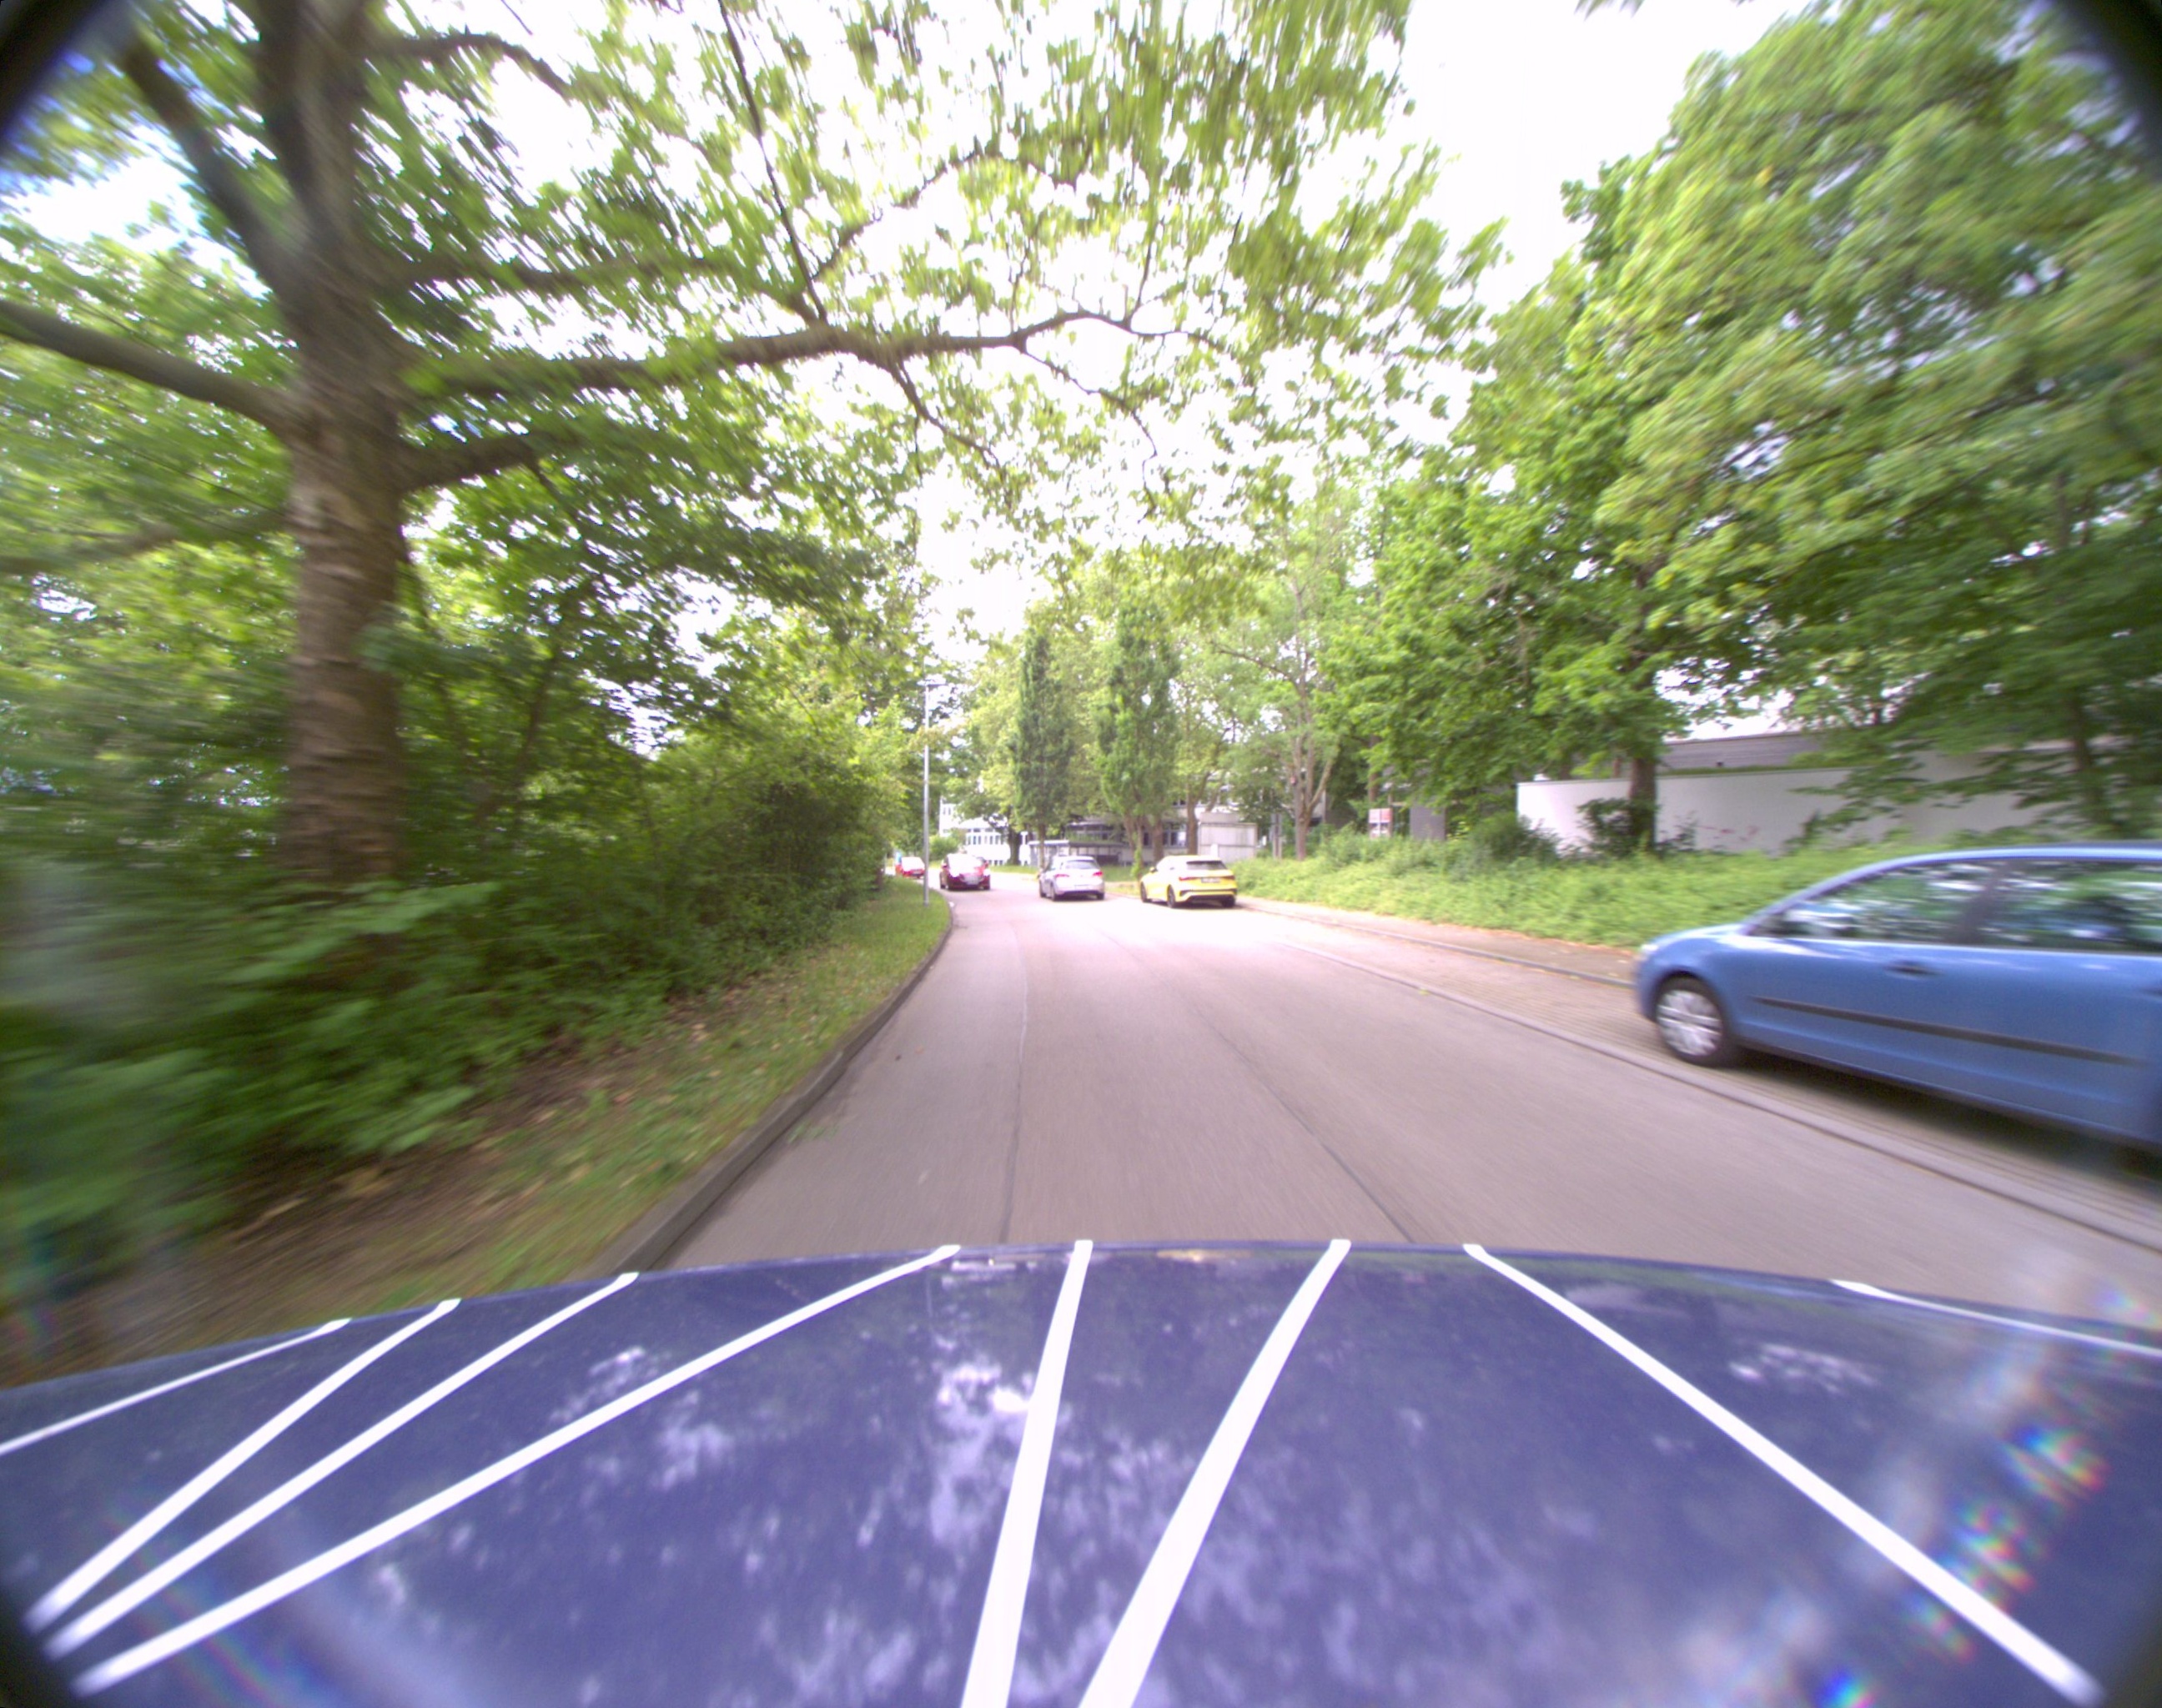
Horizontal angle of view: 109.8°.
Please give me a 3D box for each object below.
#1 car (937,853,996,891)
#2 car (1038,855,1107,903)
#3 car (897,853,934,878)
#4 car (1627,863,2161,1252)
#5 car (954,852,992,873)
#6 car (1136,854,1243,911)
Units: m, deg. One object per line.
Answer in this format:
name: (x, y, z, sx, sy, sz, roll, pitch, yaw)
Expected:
car: (-5.363, 0.769, 35.239, 1.864, 1.608, 4.468, -1, 0, -20)
car: (-0.377, 0.803, 26.343, 1.682, 1.454, 4.057, -2, 0, -10)
car: (-11.315, 0.776, 51.837, 2.002, 1.564, 3.993, 1, -1, -19)
car: (4.827, 0.787, 3.667, 1.538, 1.450, 3.718, 0, 0, -4)
car: (-8.328, 0.613, 58.322, 1.687, 1.503, 4.422, 0, 0, -25)
car: (2.952, 0.732, 21.634, 1.706, 1.394, 4.268, -1, 1, -11)
